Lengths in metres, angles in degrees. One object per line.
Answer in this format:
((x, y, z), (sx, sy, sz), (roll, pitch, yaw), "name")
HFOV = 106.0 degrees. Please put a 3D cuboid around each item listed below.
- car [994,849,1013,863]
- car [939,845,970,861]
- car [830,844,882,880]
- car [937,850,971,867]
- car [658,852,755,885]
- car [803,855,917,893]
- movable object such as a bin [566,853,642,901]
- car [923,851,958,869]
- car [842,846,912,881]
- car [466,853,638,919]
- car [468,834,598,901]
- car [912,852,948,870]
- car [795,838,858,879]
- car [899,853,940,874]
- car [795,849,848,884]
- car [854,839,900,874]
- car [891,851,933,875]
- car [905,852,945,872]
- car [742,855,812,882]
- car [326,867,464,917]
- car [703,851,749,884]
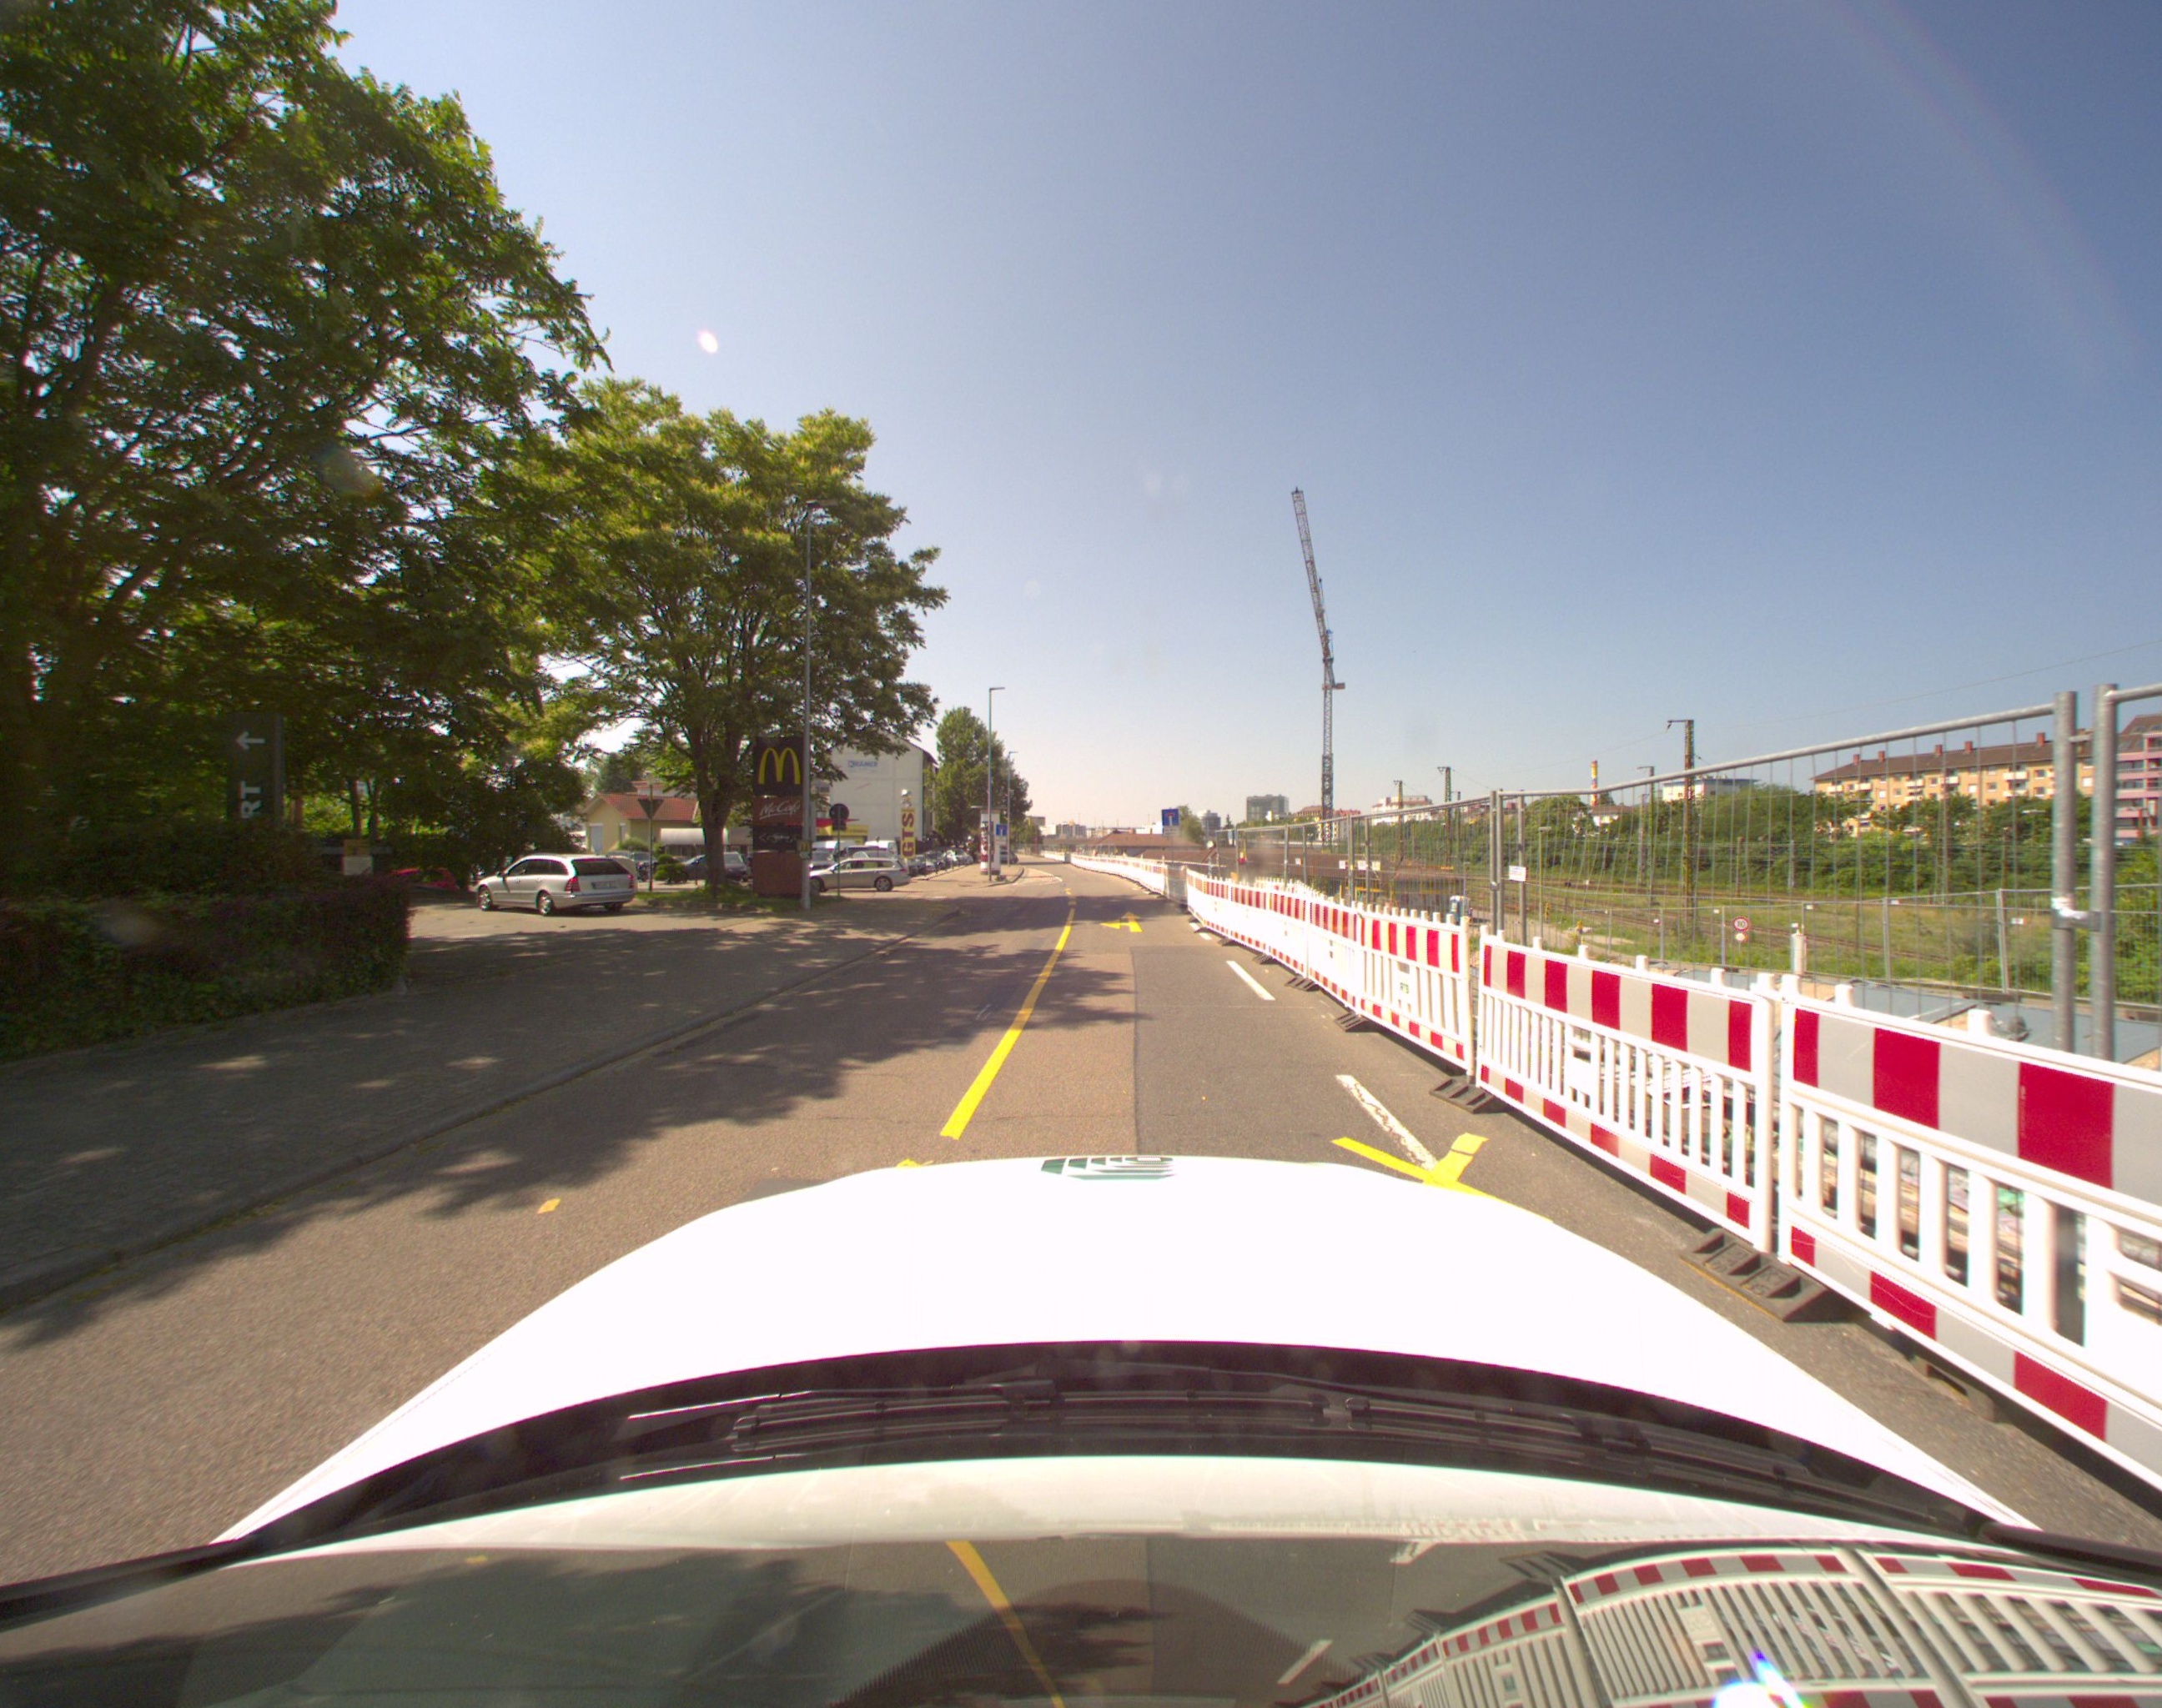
((-8.910, 0.255, 93.939), (1.864, 1.498, 4.030), (-1, 1, -1), "car")
((-16.356, -0.134, 105.340), (3.925, 1.958, 1.752), (1, 0, -12), "car")
((-15.494, 0.597, 56.380), (2.238, 2.350, 4.823), (-1, -1, 0), "car")
((-12.200, 0.445, 78.133), (1.788, 1.473, 3.959), (-3, 1, -32), "car")
((-22.706, 0.868, 49.433), (4.919, 1.842, 2.137), (-1, 0, -42), "car")
((-9.447, 0.830, 35.146), (4.594, 1.493, 1.676), (-1, 0, -12), "car")
((-16.905, 0.806, 28.910), (1.755, 1.526, 1.463), (-2, 2, 21), "movable object such as a bin")
((-12.907, 0.545, 74.552), (1.678, 1.473, 3.959), (-3, 1, -32), "car")
((-11.383, 0.557, 45.301), (1.991, 1.707, 4.610), (-2, -2, -39), "car")
((-12.746, 0.690, 19.554), (4.330, 1.403, 1.725), (0, 1, 31), "car")
((-18.126, 0.461, 26.878), (4.466, 1.920, 1.905), (-3, 1, 34), "car")
((-13.024, 0.601, 70.056), (1.678, 1.473, 3.959), (-3, 1, -32), "car")
((-18.248, 0.330, 58.818), (2.267, 2.758, 6.158), (-1, 0, 3), "car")
((-12.183, 0.711, 61.273), (1.791, 1.473, 3.962), (-3, 1, -30), "car")
((-13.929, 0.681, 43.585), (2.053, 1.707, 4.277), (-1, -1, -26), "car")
((-15.638, 0.206, 62.733), (2.241, 2.430, 5.712), (3, -1, -3), "car")
((-11.642, 0.631, 55.936), (1.846, 1.473, 3.964), (-3, 1, -27), "car")
((-12.526, 0.650, 65.313), (1.679, 1.473, 3.957), (-3, 1, -35), "car")
((-18.684, 0.860, 50.301), (1.897, 1.574, 4.699), (0, 1, 9), "car")
((-25.009, 1.327, 29.799), (1.672, 1.465, 3.429), (-1, 3, 28), "car")
((-19.234, 0.684, 44.002), (1.816, 1.656, 4.274), (-2, 1, -29), "car")
